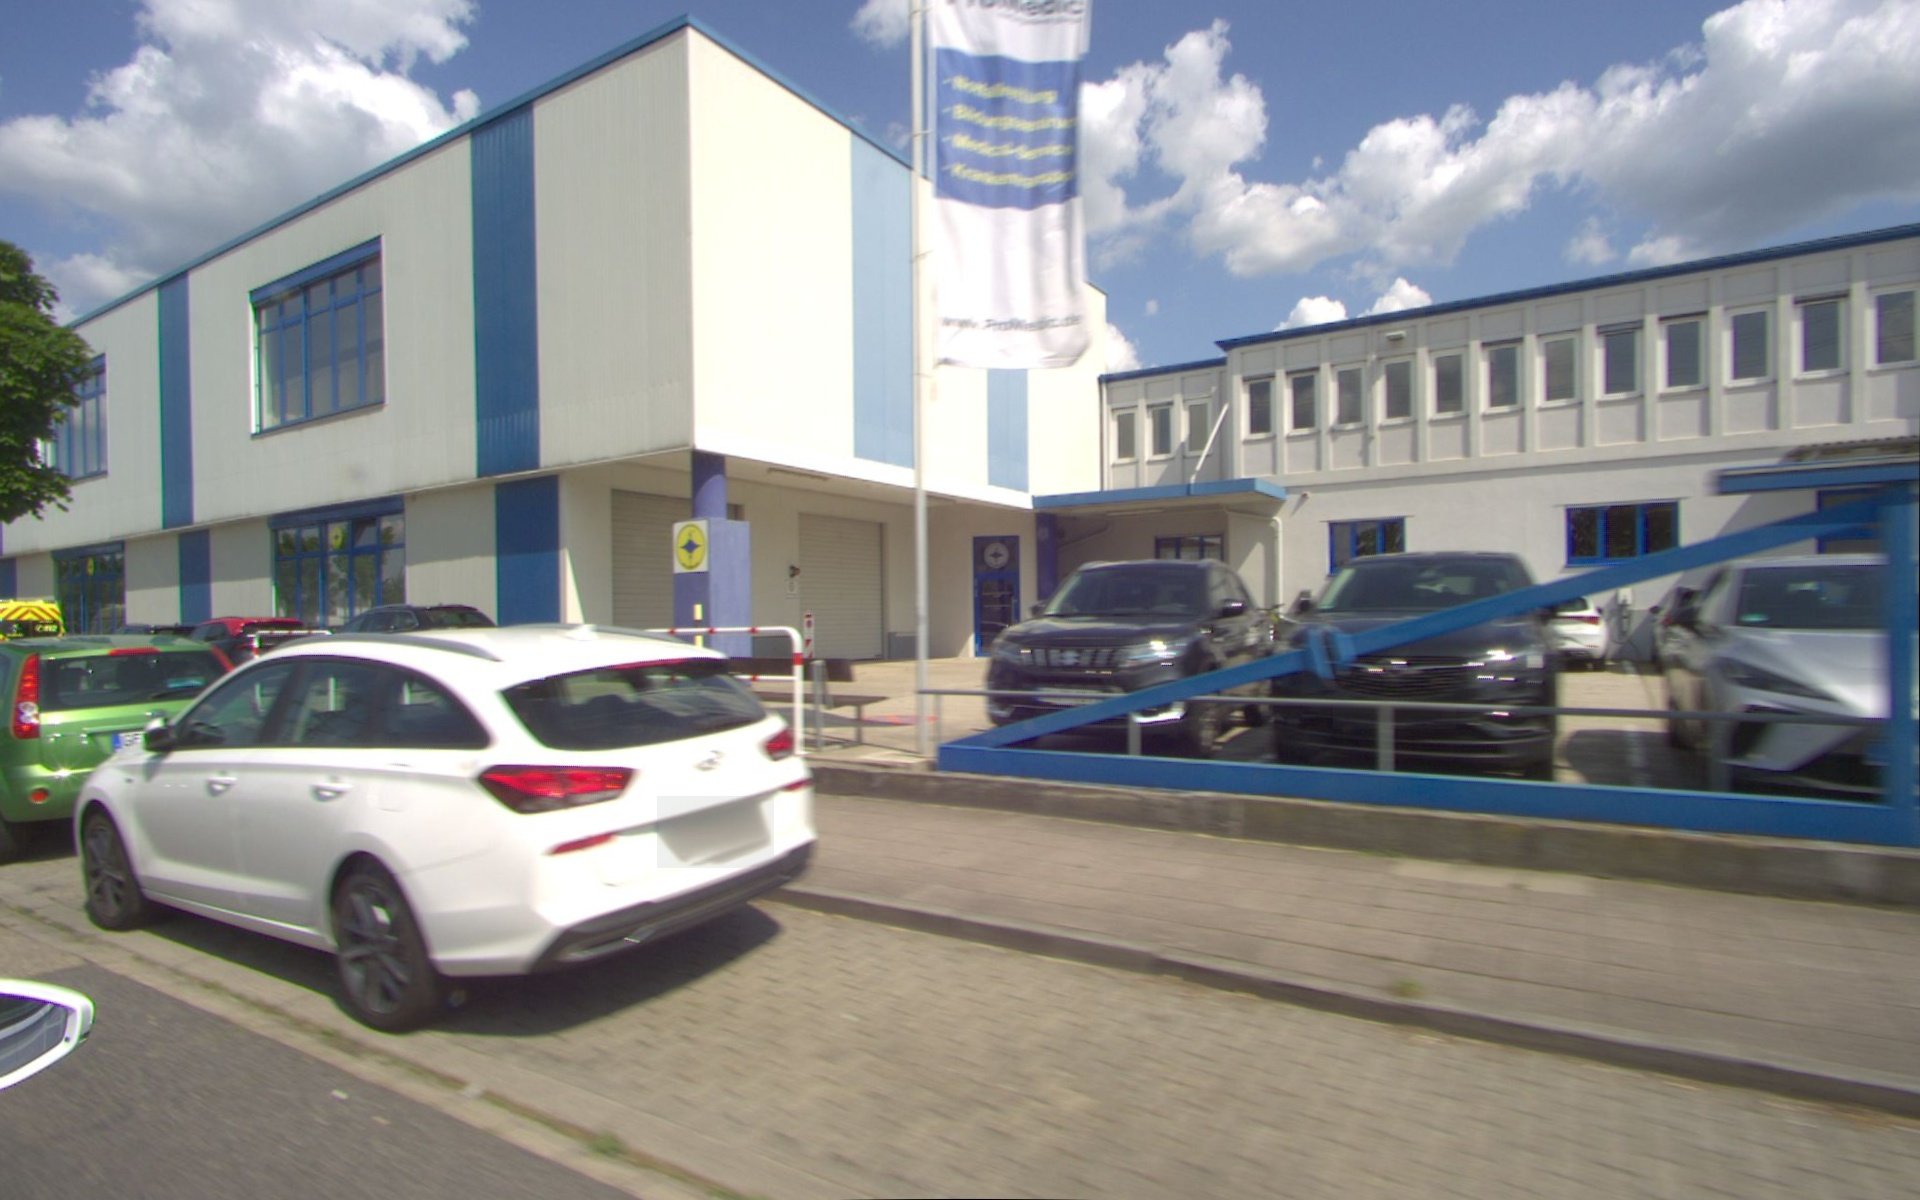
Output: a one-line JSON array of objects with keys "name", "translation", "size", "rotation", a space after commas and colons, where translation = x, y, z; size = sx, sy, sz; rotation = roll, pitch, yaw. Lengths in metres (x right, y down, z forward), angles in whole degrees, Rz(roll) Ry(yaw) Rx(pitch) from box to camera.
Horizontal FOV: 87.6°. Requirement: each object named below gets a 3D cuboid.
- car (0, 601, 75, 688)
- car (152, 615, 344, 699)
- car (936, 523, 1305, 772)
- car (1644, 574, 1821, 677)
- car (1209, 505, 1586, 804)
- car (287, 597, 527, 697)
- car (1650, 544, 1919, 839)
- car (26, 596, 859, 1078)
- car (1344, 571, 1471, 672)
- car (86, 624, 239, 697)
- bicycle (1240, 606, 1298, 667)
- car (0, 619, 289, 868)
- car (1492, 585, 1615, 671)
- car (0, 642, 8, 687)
[{"name": "car", "translation": [-29.264, 1.368, 30.662], "size": [5.185, 2.495, 1.920], "rotation": [-2, -2, 33]}, {"name": "car", "translation": [-15.593, 1.246, 21.886], "size": [4.230, 1.678, 1.990], "rotation": [-3, -2, 33]}, {"name": "car", "translation": [1.688, 0.379, 9.123], "size": [1.971, 1.708, 4.078], "rotation": [-1, -1, 30]}, {"name": "car", "translation": [12.941, 0.412, 17.029], "size": [1.906, 1.527, 3.981], "rotation": [-1, -1, 31]}, {"name": "car", "translation": [3.640, 0.361, 7.959], "size": [2.116, 1.668, 4.220], "rotation": [-1, -1, 30]}, {"name": "car", "translation": [-10.070, 0.888, 18.135], "size": [4.578, 1.531, 1.824], "rotation": [-5, -3, 33]}, {"name": "car", "translation": [5.891, 0.450, 6.640], "size": [1.972, 1.438, 4.270], "rotation": [-1, -1, 32]}, {"name": "car", "translation": [-2.824, 0.844, 5.156], "size": [4.397, 1.540, 1.832], "rotation": [-2, -2, 32]}, {"name": "car", "translation": [8.915, 0.417, 19.758], "size": [1.780, 1.762, 4.050], "rotation": [-1, -1, 31]}, {"name": "car", "translation": [-19.782, 1.484, 24.799], "size": [4.156, 1.673, 1.711], "rotation": [-3, -2, 33]}, {"name": "bicycle", "translation": [6.515, 0.745, 21.045], "size": [0.632, 1.228, 2.220], "rotation": [-1, -1, 31]}, {"name": "car", "translation": [-7.193, 0.966, 7.954], "size": [3.939, 1.540, 1.666], "rotation": [-2, -2, 32]}, {"name": "car", "translation": [11.036, 0.494, 18.640], "size": [1.780, 1.418, 3.980], "rotation": [-1, -1, 31]}, {"name": "car", "translation": [-34.186, 2.213, 34.213], "size": [3.763, 1.509, 1.570], "rotation": [-2, -2, 33]}]
